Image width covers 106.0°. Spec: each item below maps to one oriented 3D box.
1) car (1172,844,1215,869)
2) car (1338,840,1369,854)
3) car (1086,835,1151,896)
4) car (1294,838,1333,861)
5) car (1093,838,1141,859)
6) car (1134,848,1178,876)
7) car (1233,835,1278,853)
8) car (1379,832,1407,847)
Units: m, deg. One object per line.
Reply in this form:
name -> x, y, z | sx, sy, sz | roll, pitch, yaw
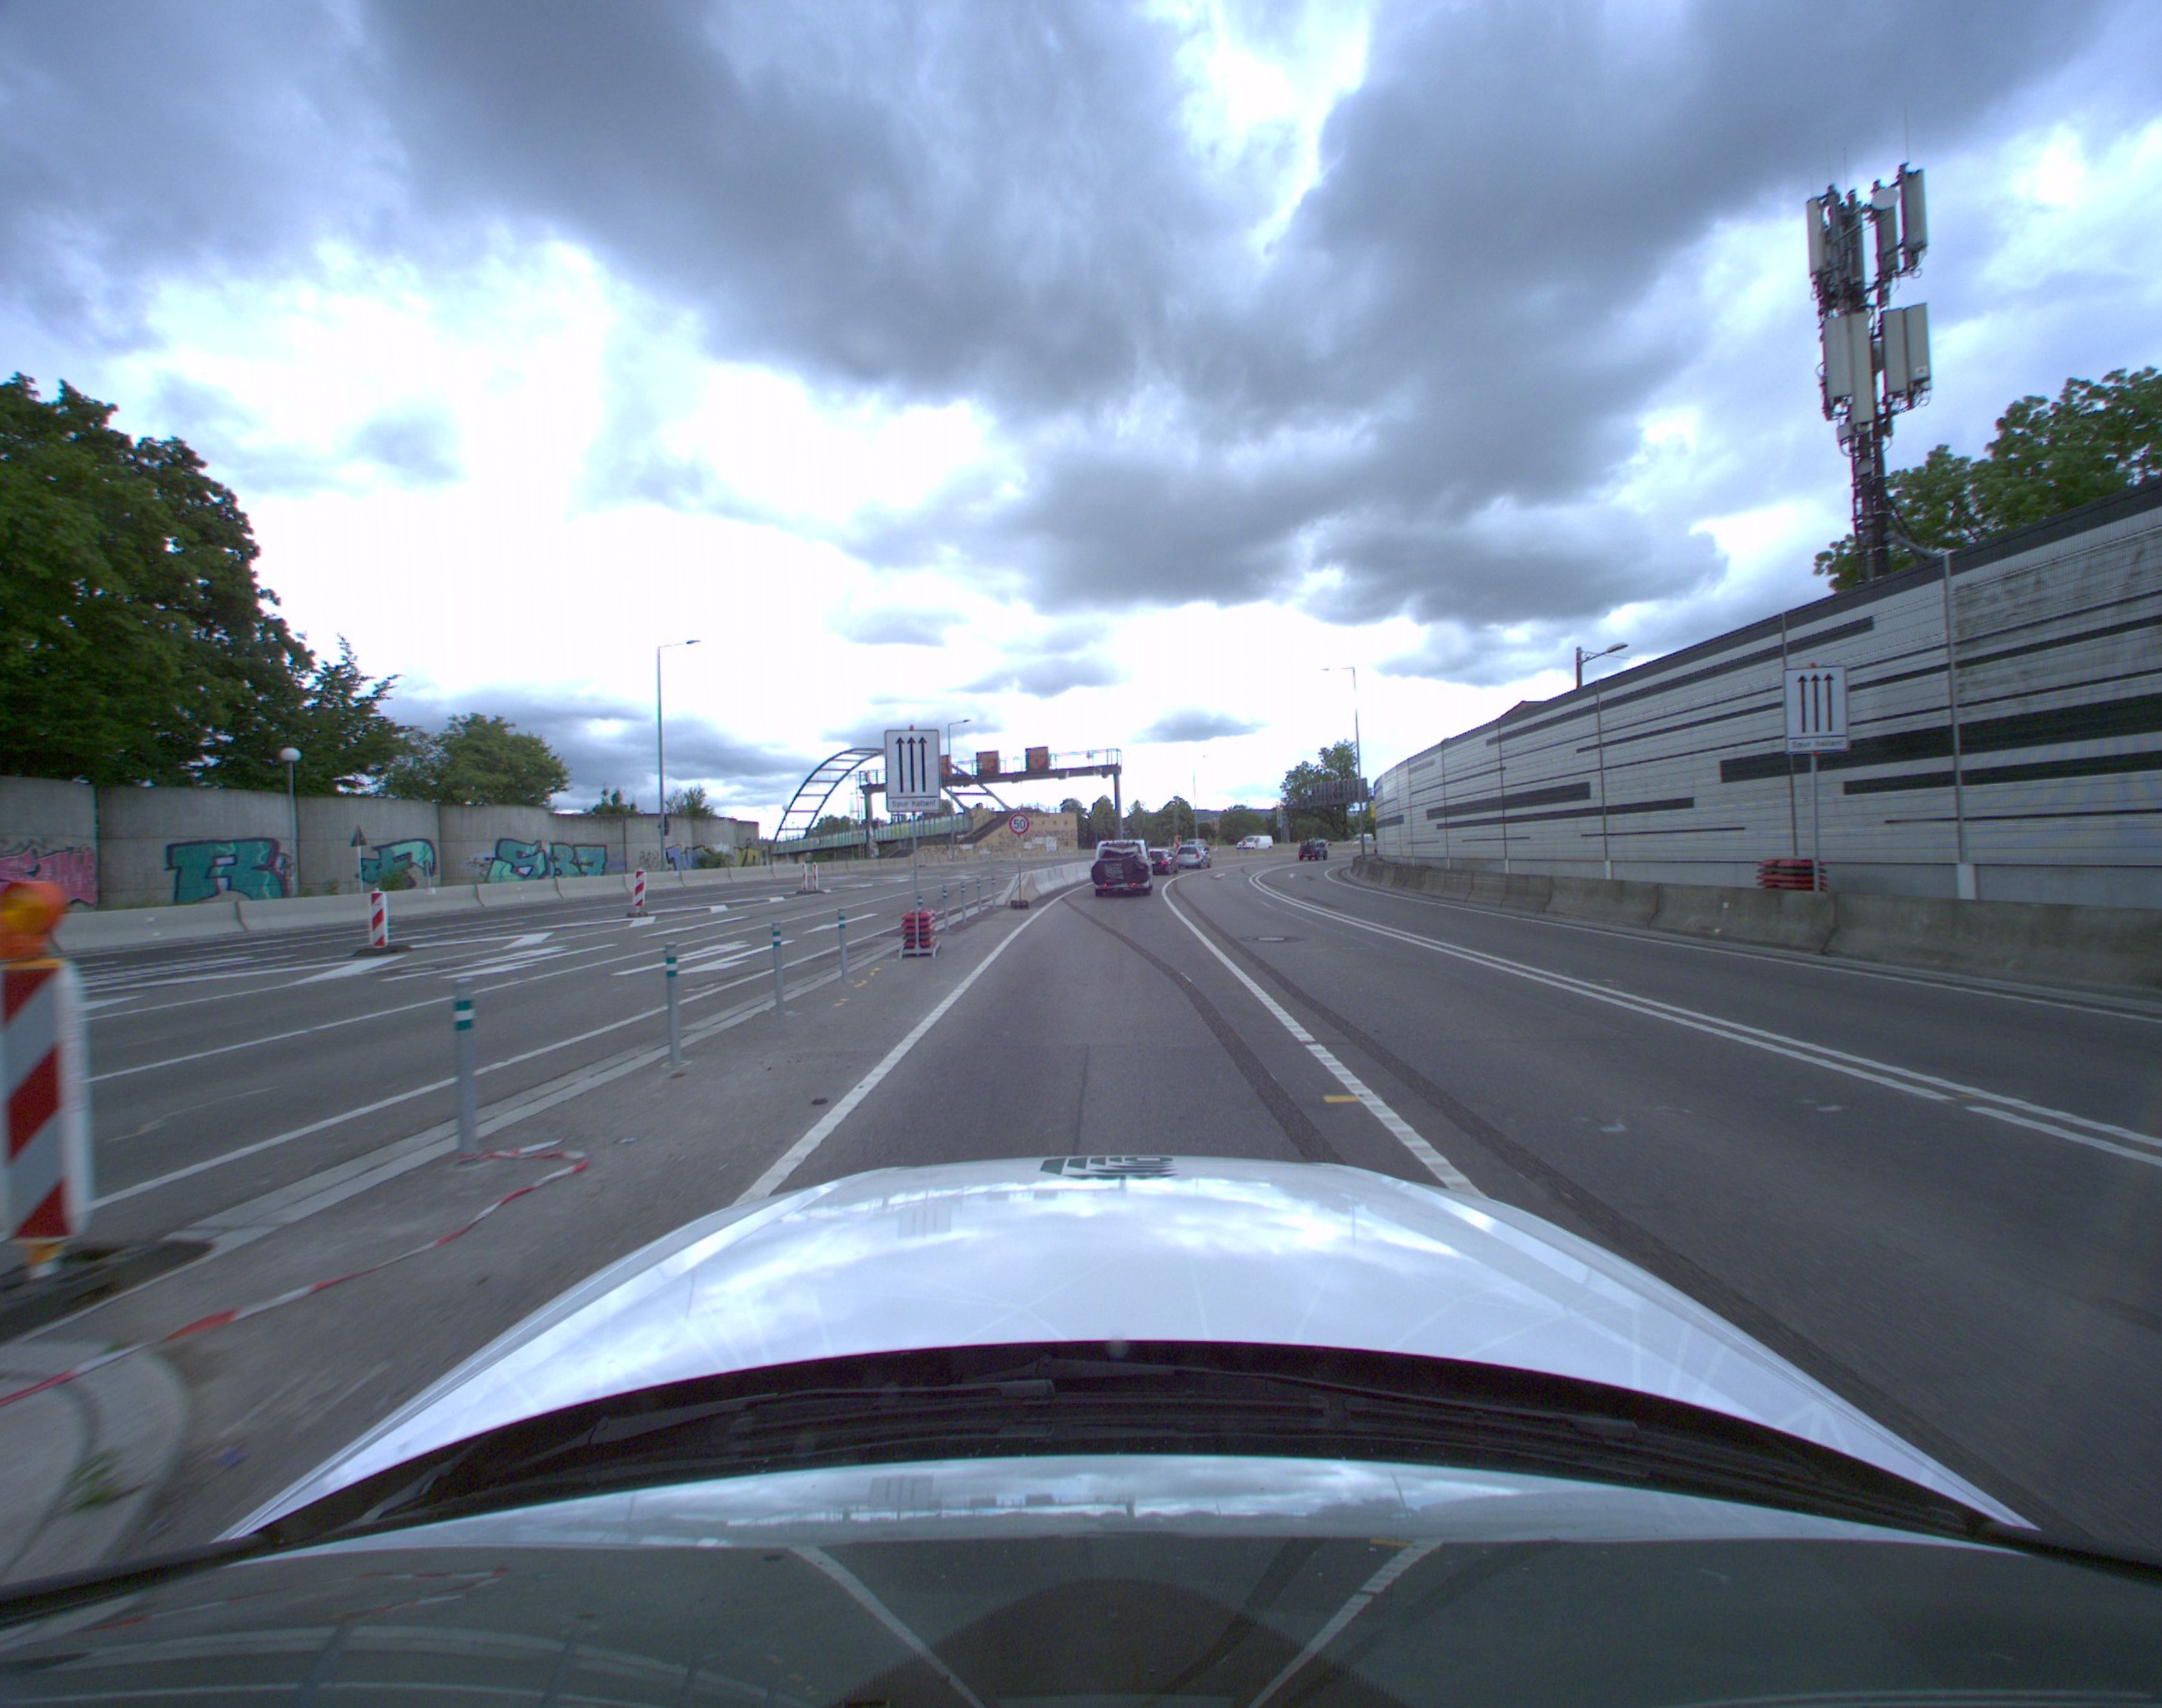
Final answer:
car -> 7.593, 0.160, 54.839 | 1.904, 1.488, 4.087 | -2, 1, 21
car -> 35.012, -0.956, 104.572 | 4.284, 1.686, 1.976 | -2, 0, -43
car -> 1.378, 0.374, 28.275 | 1.984, 1.859, 5.647 | -2, -1, 4
car -> 20.301, -0.421, 70.941 | 1.974, 1.860, 4.026 | -2, 0, 36
car -> 3.162, -0.495, 70.113 | 1.931, 1.750, 5.307 | -2, 0, 29
car -> 4.262, 0.408, 45.650 | 1.802, 1.434, 4.080 | -3, 0, 13
car -> 19.833, -1.149, 92.425 | 5.131, 1.951, 2.218 | -2, 0, -40
car -> 33.177, -1.553, 86.499 | 1.992, 1.488, 4.091 | -2, 1, 33
